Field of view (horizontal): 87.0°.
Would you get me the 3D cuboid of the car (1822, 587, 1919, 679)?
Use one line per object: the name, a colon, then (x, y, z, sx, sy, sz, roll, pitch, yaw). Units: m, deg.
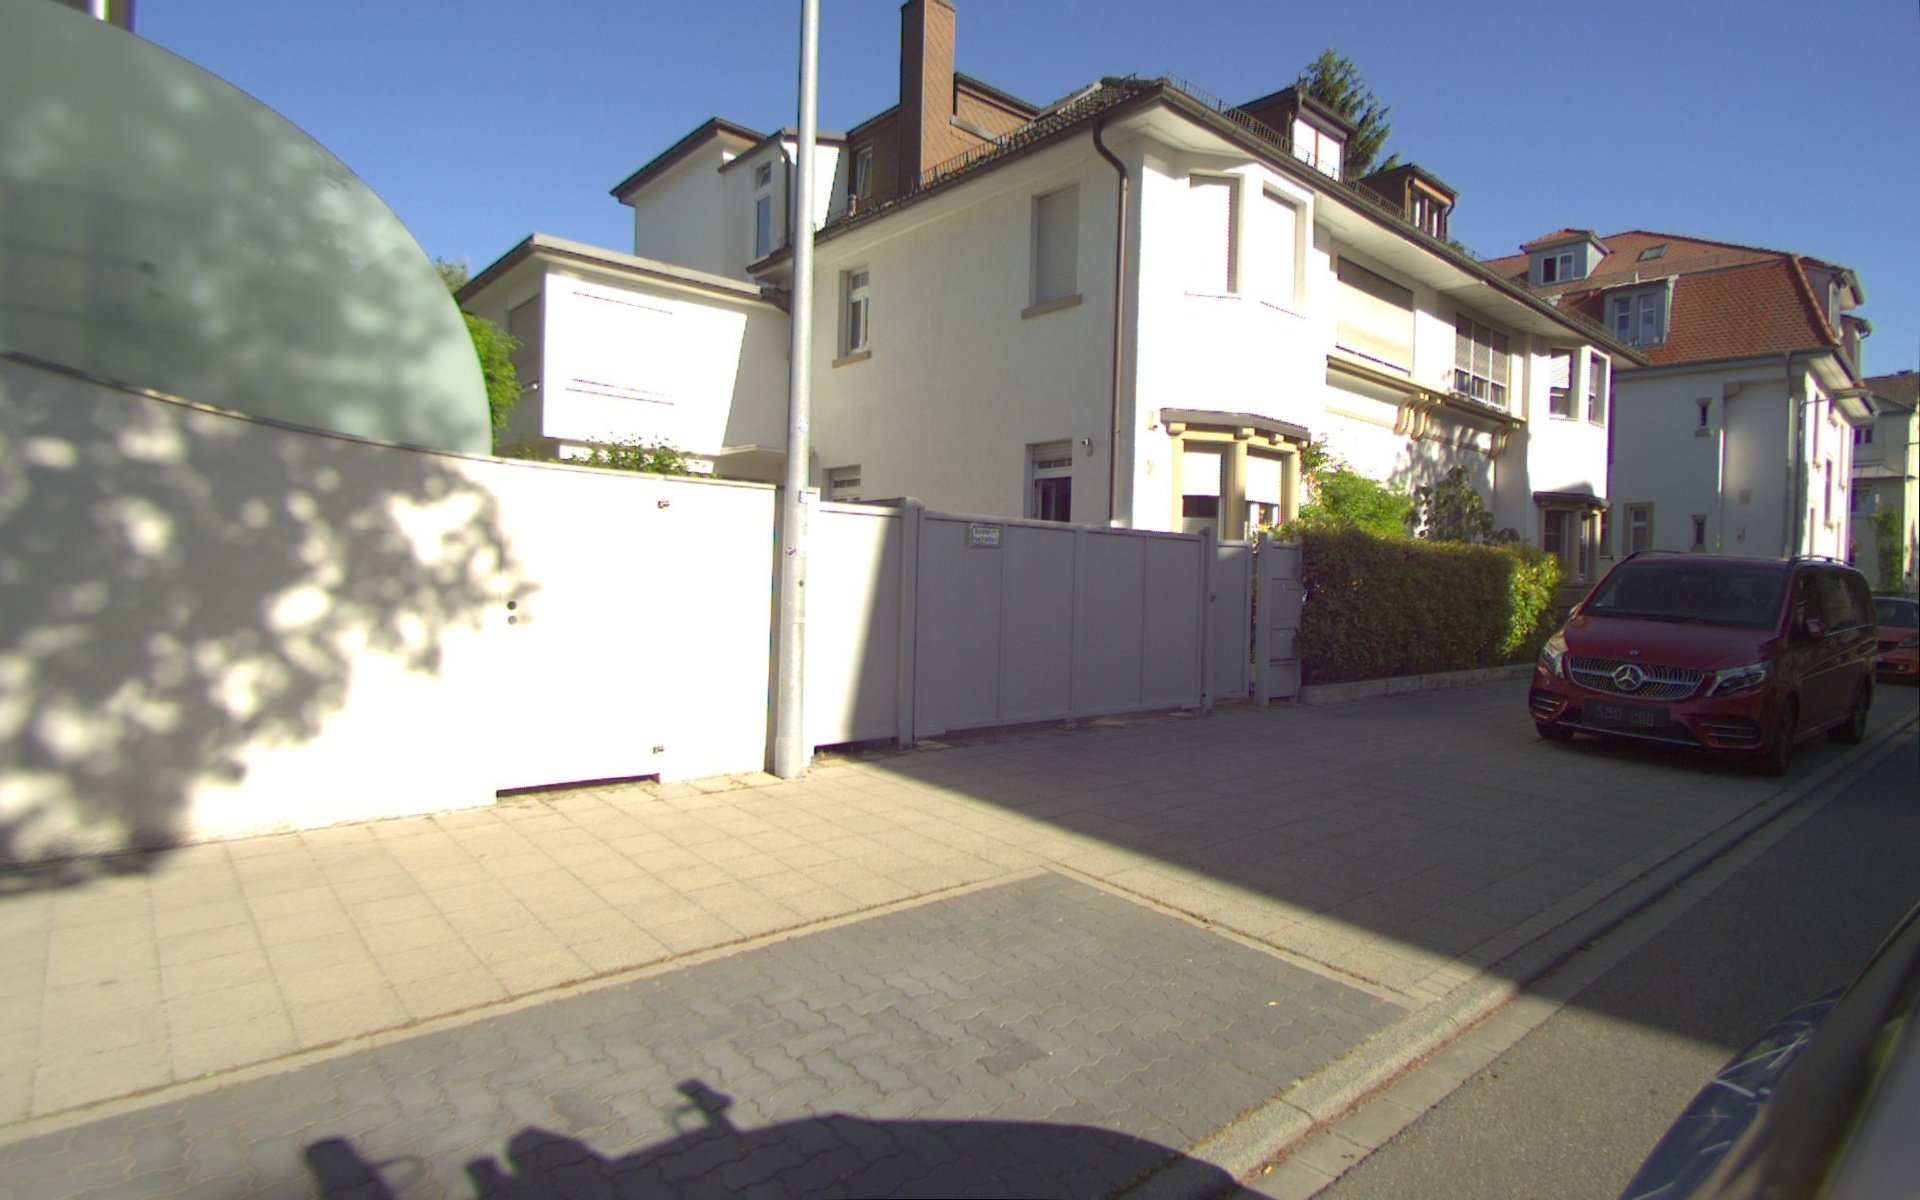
car: (17.269, 0.562, 18.665, 3.191, 1.498, 1.595, 0, 4, -42)

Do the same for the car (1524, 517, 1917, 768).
car: (7.756, 0.255, 10.107, 5.103, 1.928, 1.877, -1, 3, -39)
